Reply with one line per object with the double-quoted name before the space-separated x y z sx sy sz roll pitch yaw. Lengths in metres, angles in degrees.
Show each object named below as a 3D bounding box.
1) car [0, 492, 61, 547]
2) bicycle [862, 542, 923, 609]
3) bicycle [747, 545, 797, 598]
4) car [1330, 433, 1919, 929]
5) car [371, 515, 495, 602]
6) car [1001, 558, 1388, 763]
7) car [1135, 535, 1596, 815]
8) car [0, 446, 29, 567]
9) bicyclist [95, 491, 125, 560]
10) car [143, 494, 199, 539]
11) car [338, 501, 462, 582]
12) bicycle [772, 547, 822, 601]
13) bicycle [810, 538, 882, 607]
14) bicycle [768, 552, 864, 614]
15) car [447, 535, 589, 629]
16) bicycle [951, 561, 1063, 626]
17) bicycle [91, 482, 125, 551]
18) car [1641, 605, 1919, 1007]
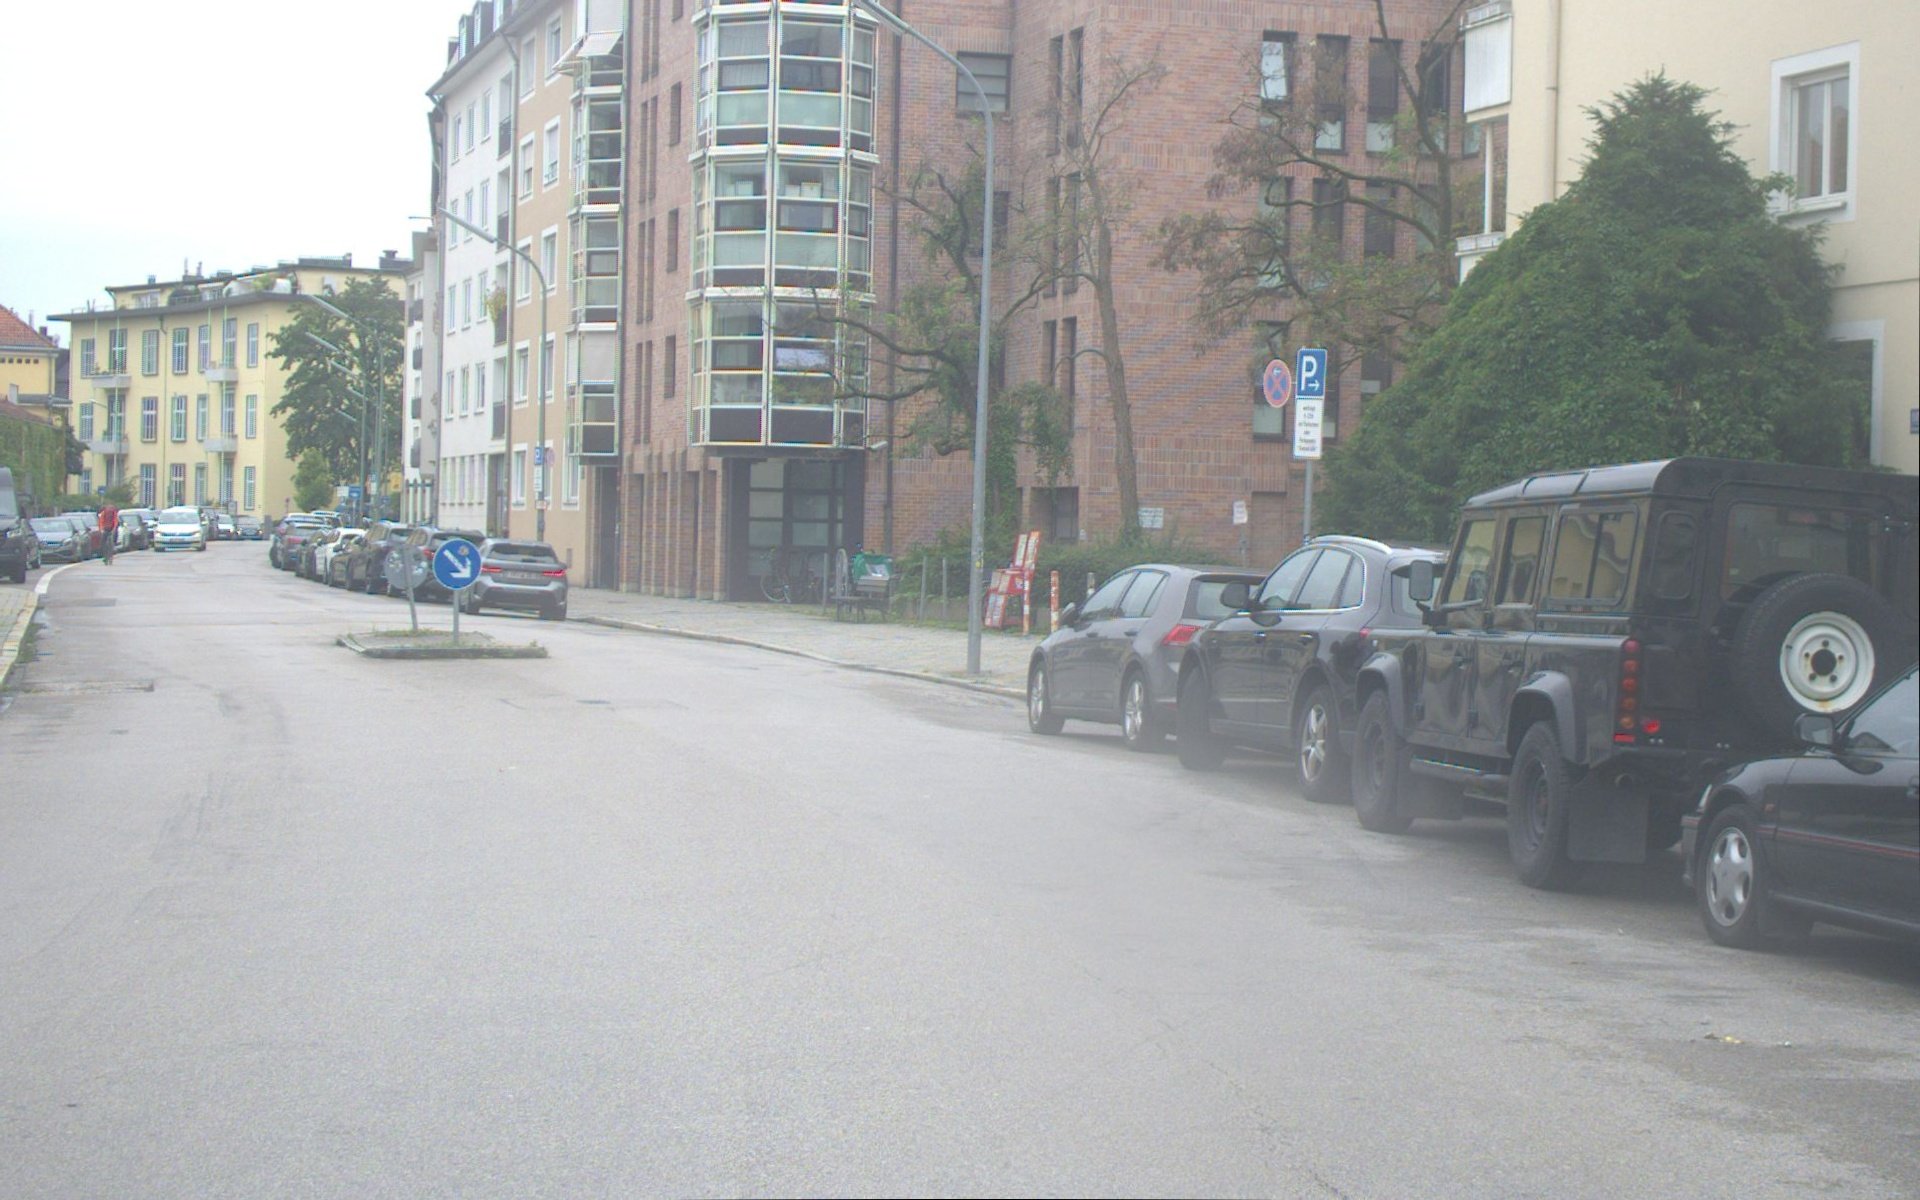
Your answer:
"car" -28.738 -2.494 105.935 1.772 1.545 3.780 3 2 -12
"bicycle" -1.225 -0.438 62.565 0.420 1.169 1.359 4 2 30
"bicycle" -3.910 -0.605 71.387 0.486 1.056 1.996 3 0 -18
"car" 3.338 0.280 17.140 1.747 2.074 4.517 3 2 -9
"car" -11.272 -0.904 73.377 1.829 1.596 4.268 3 2 -19
"car" 1.743 0.424 27.026 1.753 1.391 4.046 3 0 -15
"car" 2.532 0.409 22.642 1.658 1.560 4.516 3 1 -11
"car" -23.024 -2.154 80.068 2.421 2.706 5.955 0 1 -16
"bicyclist" -25.422 -2.228 102.807 0.766 2.006 0.768 -2 2 -10
"car" -30.159 -3.196 131.357 2.025 1.616 4.506 0 0 -14
"car" -12.813 -1.357 78.440 1.963 1.596 4.673 3 2 -19
"bicycle" -3.405 -0.550 71.535 0.486 1.056 1.996 3 1 -17
"bicycle" -2.141 -0.521 64.166 0.534 1.244 2.414 3 0 -21
"bicycle" -2.928 -0.346 69.919 1.848 1.143 0.488 3 2 -9
"car" -8.159 -0.356 63.183 1.924 1.507 4.393 3 1 -15
"bicycle" 0.767 -0.109 56.300 1.700 0.962 0.546 3 2 -14
"bicycle" -25.460 -2.500 102.777 0.748 2.006 2.849 0 2 -9
"car" 4.039 0.764 12.439 1.658 1.344 3.805 3 0 -12
